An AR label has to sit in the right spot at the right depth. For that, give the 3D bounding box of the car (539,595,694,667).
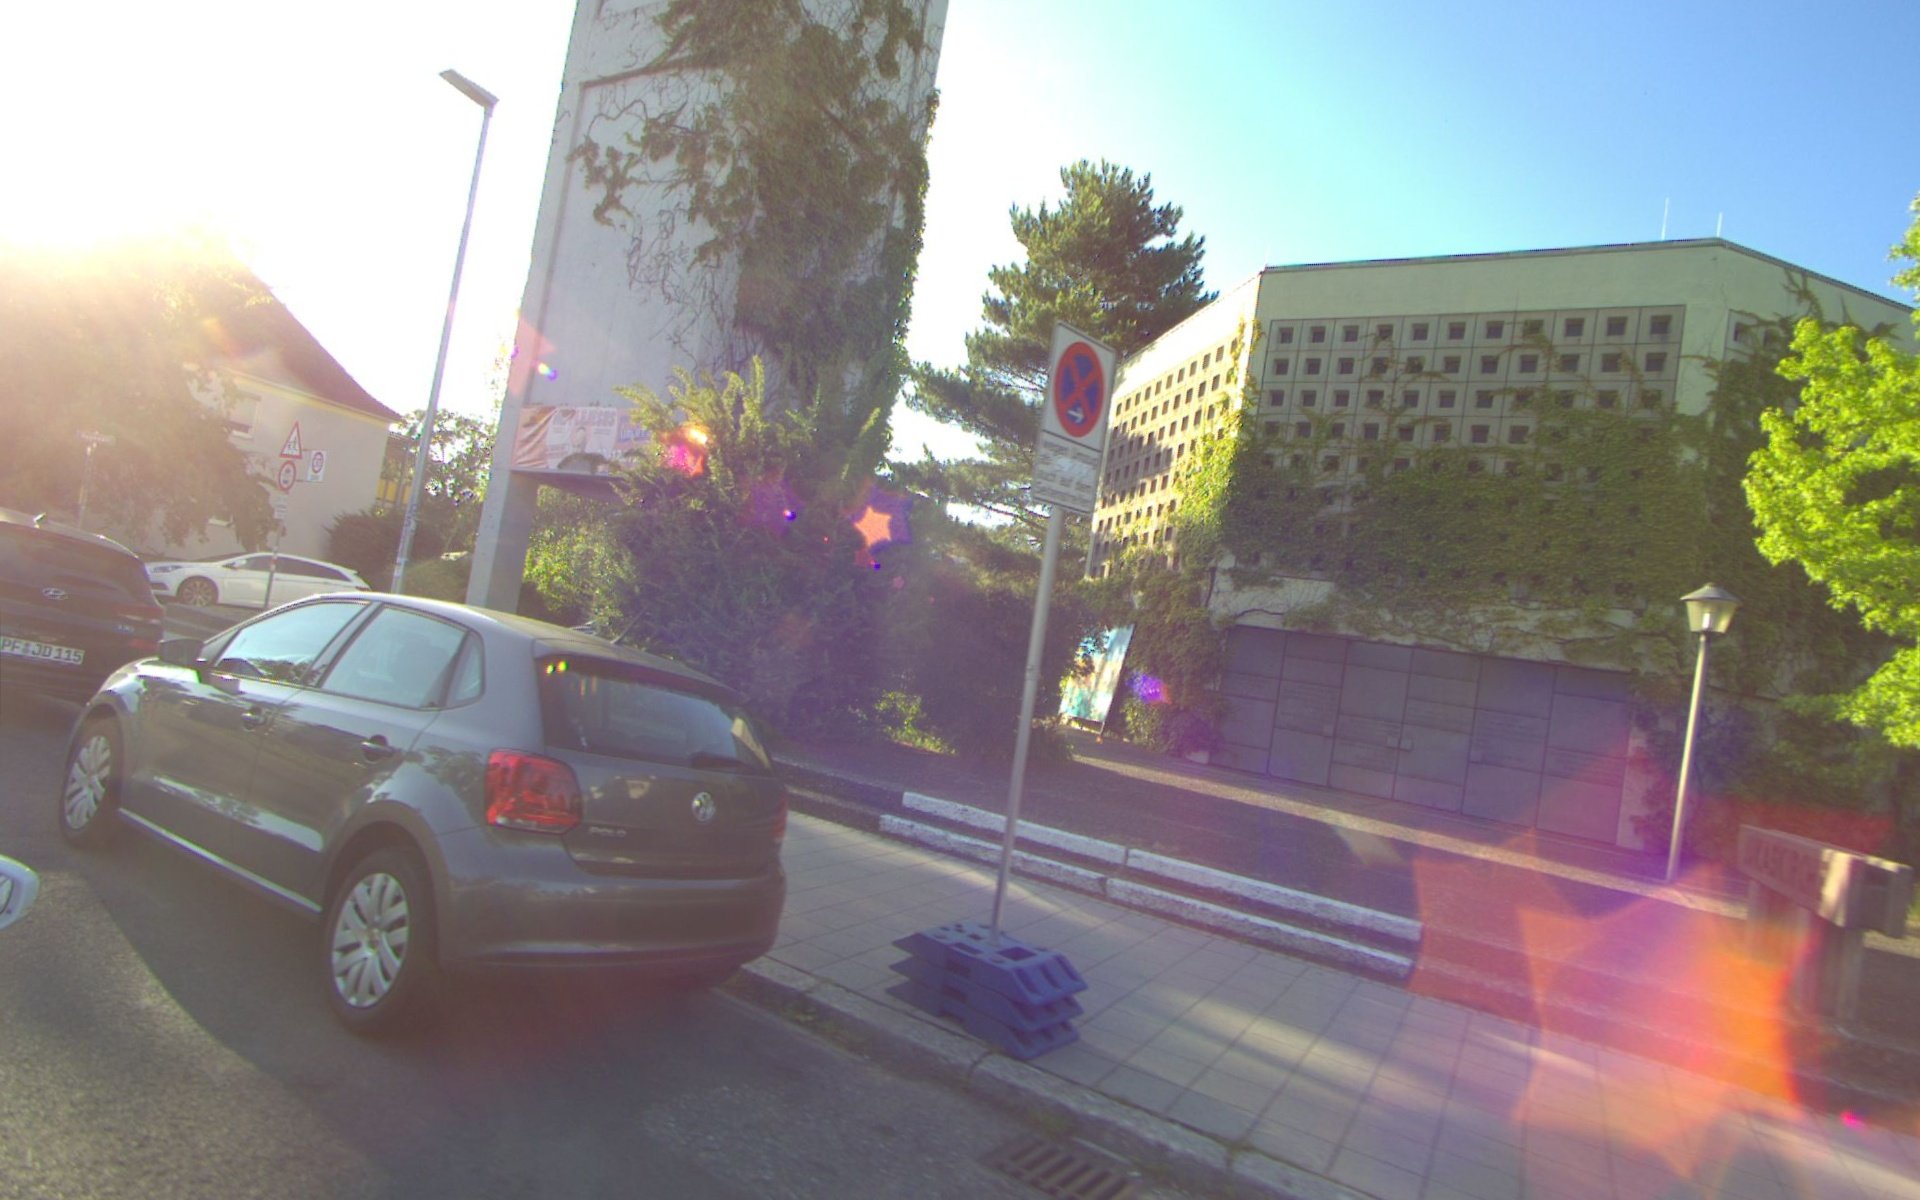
[{"bbox_3d":[-10.742,1.015,31.741,1.968,1.525,4.127,7,-5,34],"label":"car"}]

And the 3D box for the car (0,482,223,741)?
[{"bbox_3d":[-8.224,-0.178,8.160,4.545,1.573,1.833,8,-9,33],"label":"car"}]

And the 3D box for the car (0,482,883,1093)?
[{"bbox_3d":[-2.629,0.575,4.743,4.105,1.541,1.696,8,-7,32],"label":"car"}]

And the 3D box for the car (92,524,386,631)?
[{"bbox_3d":[-15.934,-0.427,22.571,1.970,1.500,4.864,4,-7,31],"label":"car"}]
